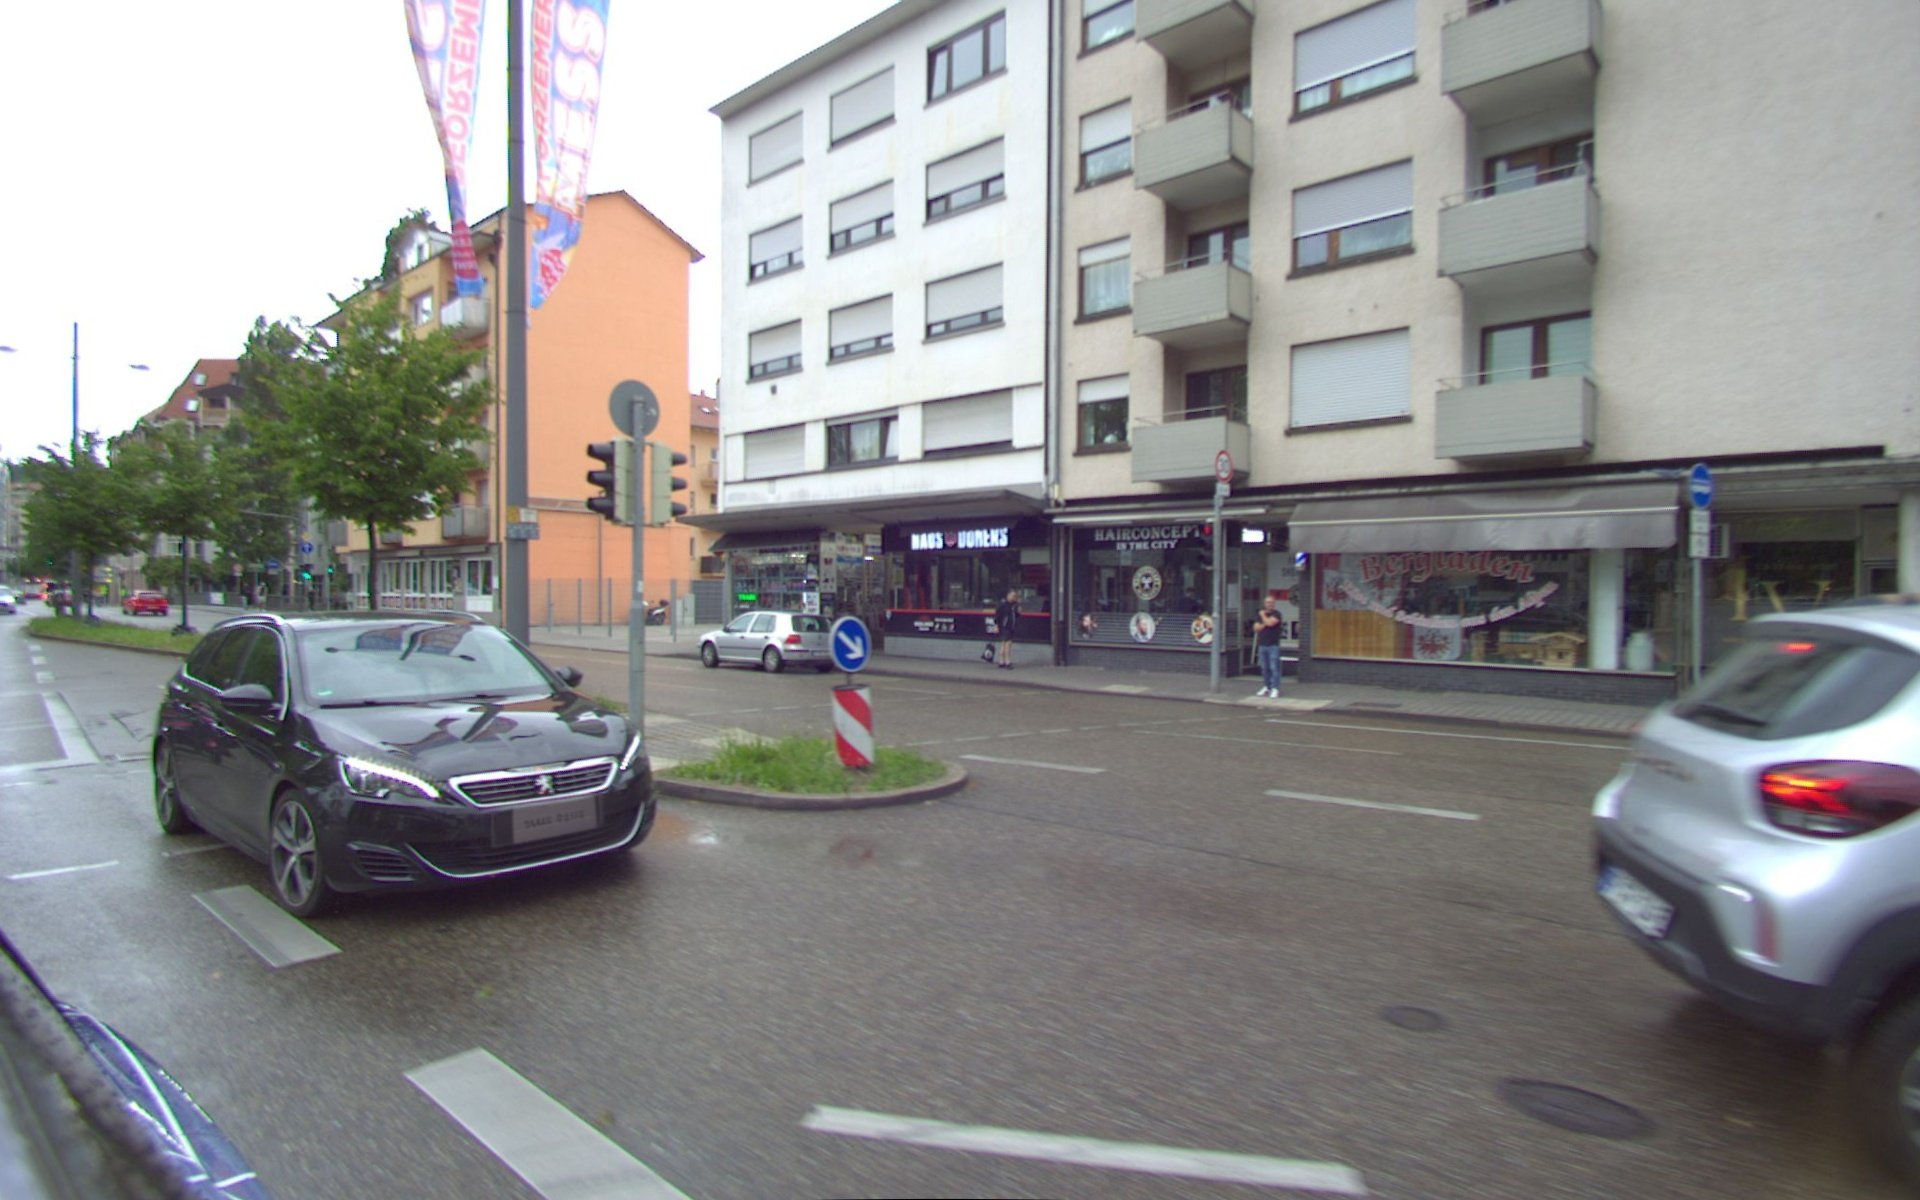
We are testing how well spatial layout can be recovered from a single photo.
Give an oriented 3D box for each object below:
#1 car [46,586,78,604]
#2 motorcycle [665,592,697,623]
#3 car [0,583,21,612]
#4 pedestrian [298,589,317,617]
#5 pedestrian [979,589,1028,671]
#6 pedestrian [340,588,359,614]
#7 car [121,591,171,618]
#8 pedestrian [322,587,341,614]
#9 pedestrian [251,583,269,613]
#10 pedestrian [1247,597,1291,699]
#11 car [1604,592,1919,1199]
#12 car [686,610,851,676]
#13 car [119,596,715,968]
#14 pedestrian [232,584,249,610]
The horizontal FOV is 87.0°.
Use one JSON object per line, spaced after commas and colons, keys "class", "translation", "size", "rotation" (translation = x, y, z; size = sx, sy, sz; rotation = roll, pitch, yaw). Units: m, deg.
{"class": "car", "translation": [-72.427, -0.417, 81.627], "size": [3.834, 1.404, 1.549], "rotation": [1, -1, 43]}
{"class": "motorcycle", "translation": [-13.443, 0.368, 48.744], "size": [0.397, 1.473, 1.447], "rotation": [1, -2, 43]}
{"class": "car", "translation": [-55.162, -0.130, 58.000], "size": [1.869, 1.588, 4.366], "rotation": [2, -2, -42]}
{"class": "pedestrian", "translation": [-35.687, 0.172, 55.327], "size": [0.605, 1.451, 0.556], "rotation": [-1, 3, 24]}
{"class": "pedestrian", "translation": [0.967, 0.659, 22.491], "size": [0.769, 1.742, 0.661], "rotation": [-5, 3, -45]}
{"class": "pedestrian", "translation": [-38.352, 0.057, 63.575], "size": [0.737, 1.661, 0.682], "rotation": [0, 0, 7]}
{"class": "car", "translation": [-48.154, 0.251, 59.849], "size": [3.944, 1.441, 1.586], "rotation": [1, -1, 41]}
{"class": "pedestrian", "translation": [-39.640, 0.018, 63.800], "size": [0.676, 1.703, 0.744], "rotation": [0, 0, 11]}
{"class": "pedestrian", "translation": [-44.465, -0.115, 64.273], "size": [0.799, 1.901, 0.736], "rotation": [0, 0, 41]}
{"class": "pedestrian", "translation": [5.425, 0.826, 17.783], "size": [0.447, 1.743, 0.525], "rotation": [-5, 3, -43]}
{"class": "car", "translation": [3.901, 0.712, 2.502], "size": [3.600, 1.472, 1.532], "rotation": [0, 0, 19]}
{"class": "car", "translation": [-4.613, 0.974, 24.036], "size": [4.151, 1.402, 1.658], "rotation": [0, -2, 42]}
{"class": "car", "translation": [-3.576, 0.740, 6.262], "size": [4.394, 1.444, 1.781], "rotation": [1, 2, 41]}
{"class": "pedestrian", "translation": [-47.447, -0.191, 66.765], "size": [0.800, 1.708, 0.756], "rotation": [1, 0, 41]}
